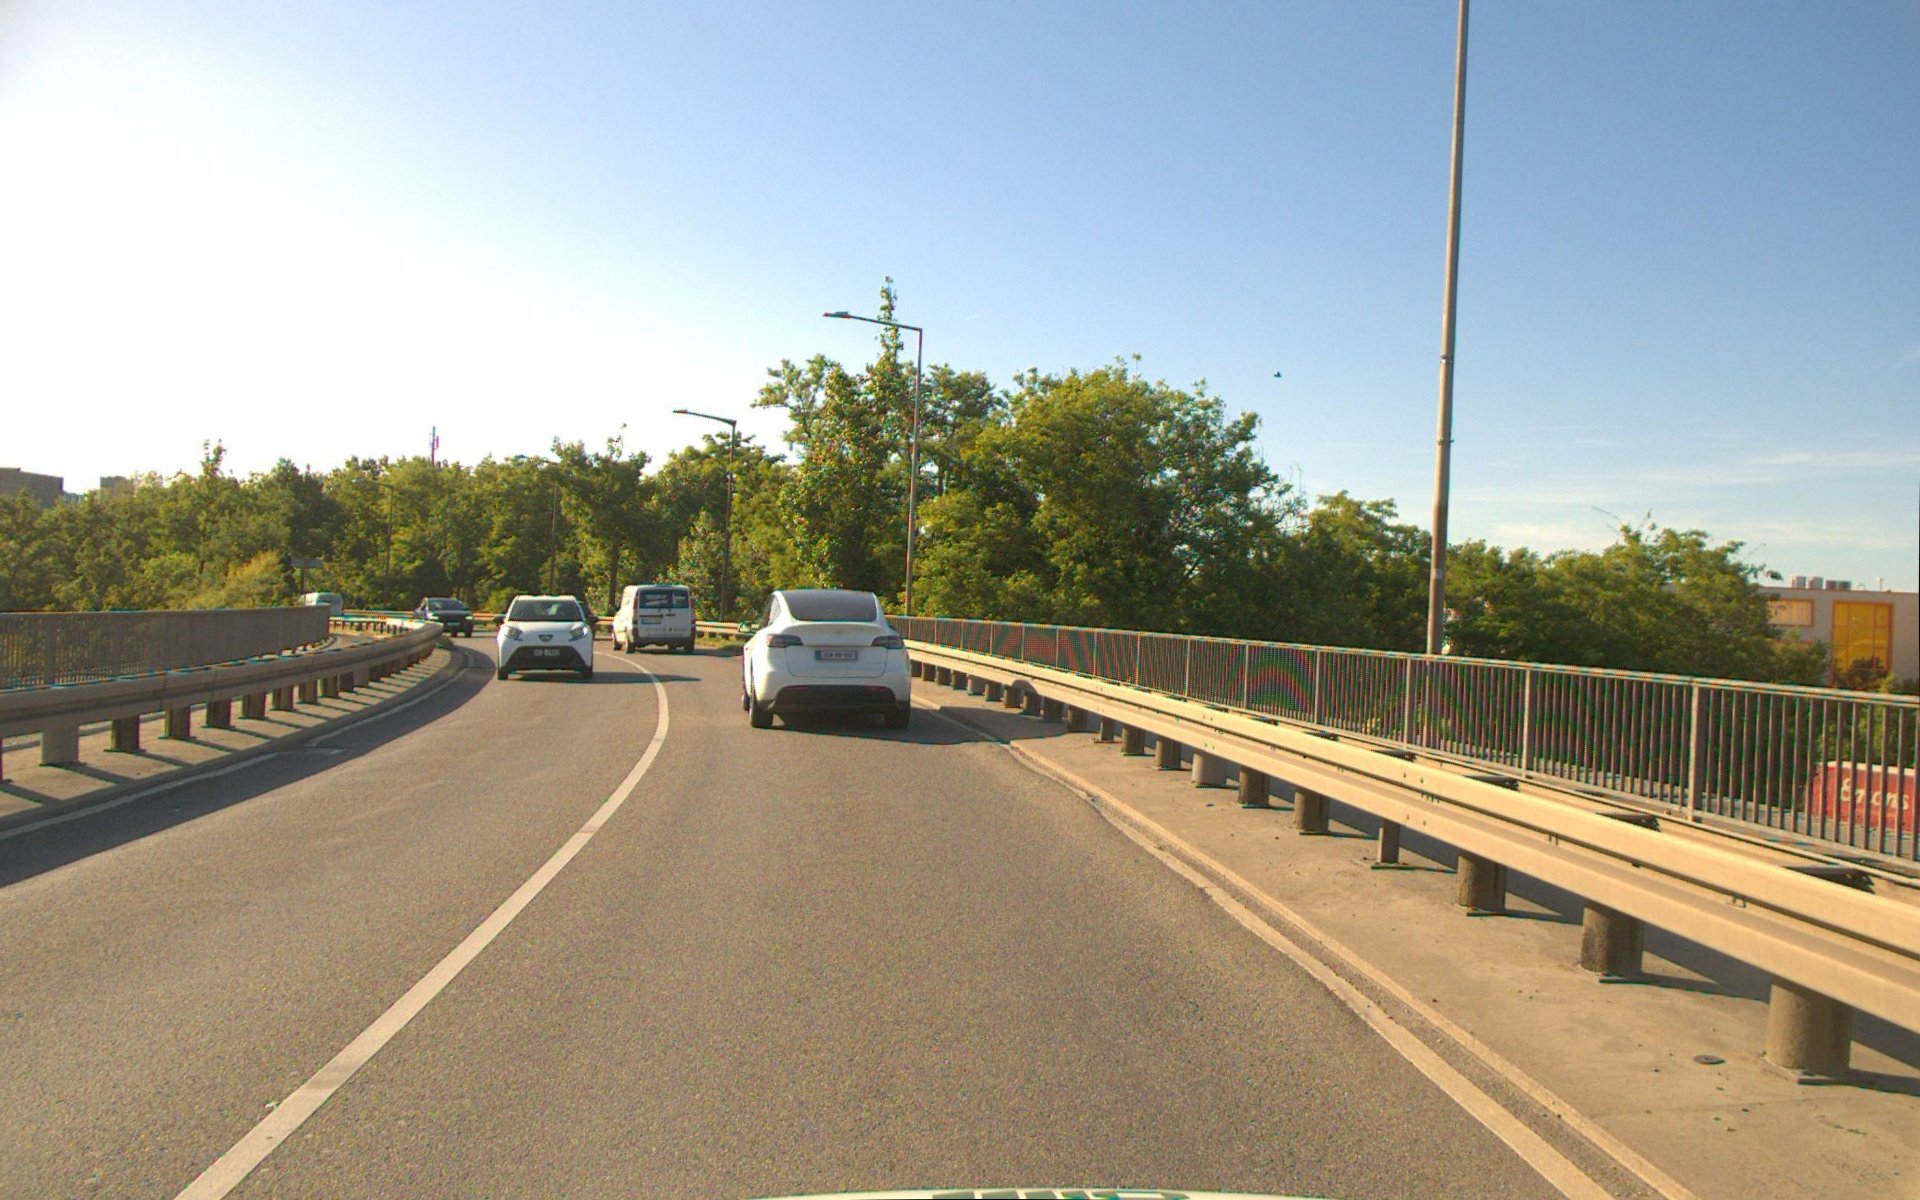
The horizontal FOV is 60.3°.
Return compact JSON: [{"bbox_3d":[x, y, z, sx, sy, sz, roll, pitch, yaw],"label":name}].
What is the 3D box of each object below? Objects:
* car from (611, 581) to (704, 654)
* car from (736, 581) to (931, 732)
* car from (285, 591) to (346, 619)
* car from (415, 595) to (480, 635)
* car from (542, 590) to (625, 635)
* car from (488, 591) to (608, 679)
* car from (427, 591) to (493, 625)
[{"bbox_3d":[-8.671,0.475,47.158,1.975,1.974,4.443,0,0,-19],"label":"car"},{"bbox_3d":[-1.686,0.649,20.650,1.950,1.666,4.052,1,0,-11],"label":"car"},{"bbox_3d":[-38.294,0.292,98.252,3.824,1.583,1.830,0,0,42],"label":"car"},{"bbox_3d":[-21.106,0.580,68.034,1.803,1.579,4.145,0,0,-29],"label":"car"},{"bbox_3d":[-14.309,0.482,62.699,1.949,1.666,3.958,0,-1,-31],"label":"car"},{"bbox_3d":[-7.860,0.616,31.345,1.810,1.545,3.747,0,0,-21],"label":"car"},{"bbox_3d":[-24.728,0.370,81.764,1.847,1.612,3.860,0,0,-39],"label":"car"}]
